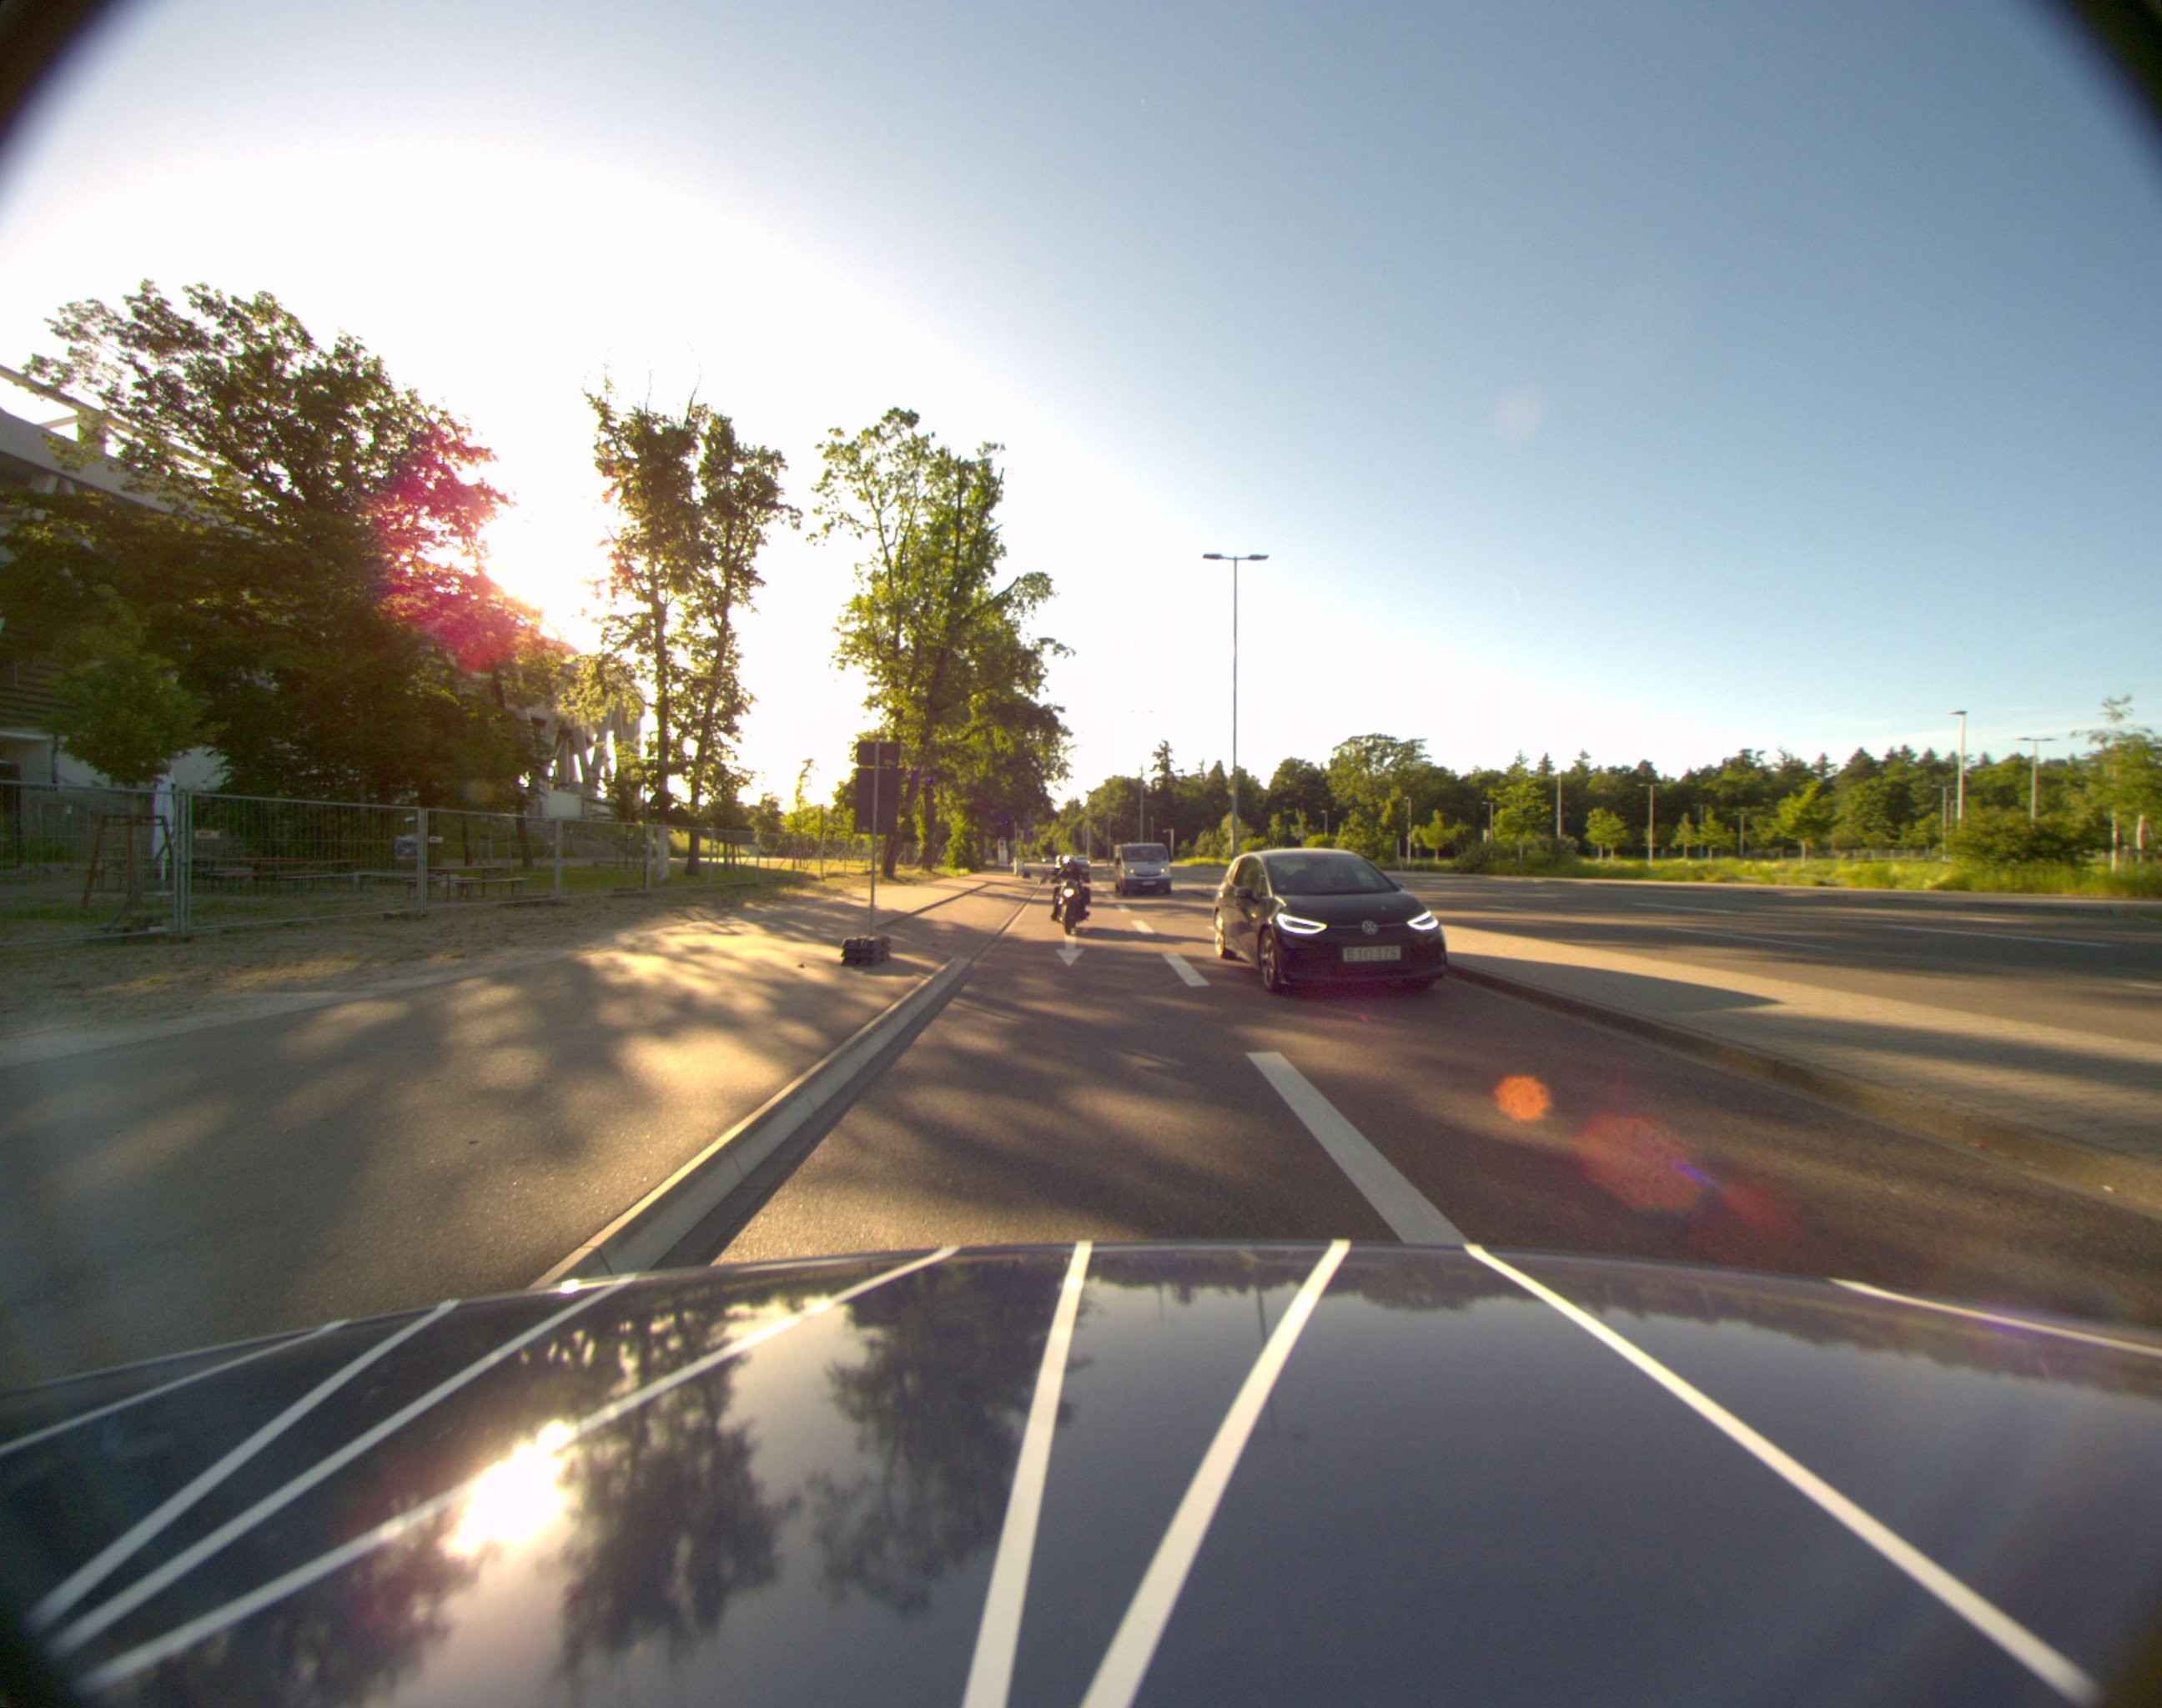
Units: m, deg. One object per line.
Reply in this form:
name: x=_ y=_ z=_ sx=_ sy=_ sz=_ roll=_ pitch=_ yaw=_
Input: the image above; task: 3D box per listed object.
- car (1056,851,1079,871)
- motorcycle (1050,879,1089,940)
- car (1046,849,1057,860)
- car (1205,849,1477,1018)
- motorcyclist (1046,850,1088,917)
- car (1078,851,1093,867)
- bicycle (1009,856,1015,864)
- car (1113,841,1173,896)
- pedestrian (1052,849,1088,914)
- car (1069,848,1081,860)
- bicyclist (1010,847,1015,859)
car: x=-1.166 y=0.606 z=68.211 sx=1.883 sy=1.629 sz=5.048 roll=-2 pitch=0 yaw=0
motorcycle: x=-0.205 y=1.130 z=16.201 sx=0.717 sy=1.058 sz=2.721 roll=-2 pitch=0 yaw=1
car: x=-5.553 y=0.039 z=141.226 sx=1.774 sy=1.849 sz=3.999 roll=-2 pitch=1 yaw=1
car: x=2.823 y=0.747 z=9.270 sx=1.883 sy=1.528 sz=3.999 roll=-2 pitch=1 yaw=0
motorcyclist: x=-0.291 y=0.616 z=16.203 sx=0.822 sy=1.367 sz=0.476 roll=-2 pitch=1 yaw=1
car: x=0.544 y=0.569 z=90.138 sx=1.675 sy=1.827 sz=3.982 roll=-2 pitch=1 yaw=1
bicycle: x=-7.846 y=0.650 z=86.611 sx=0.481 sy=0.854 sz=1.910 roll=0 pitch=0 yaw=1
car: x=2.376 y=0.548 z=30.337 sx=1.883 sy=1.951 sz=5.048 roll=-2 pitch=0 yaw=0
pedestrian: x=-0.238 y=0.596 z=16.710 sx=0.739 sy=1.387 sz=0.500 roll=-2 pitch=1 yaw=1
car: x=-0.911 y=-0.056 z=117.217 sx=1.638 sy=1.674 sz=4.000 roll=-2 pitch=1 yaw=1
bicyclist: x=-7.833 y=-0.136 z=86.692 sx=0.451 sy=1.412 sz=0.575 roll=0 pitch=1 yaw=1
